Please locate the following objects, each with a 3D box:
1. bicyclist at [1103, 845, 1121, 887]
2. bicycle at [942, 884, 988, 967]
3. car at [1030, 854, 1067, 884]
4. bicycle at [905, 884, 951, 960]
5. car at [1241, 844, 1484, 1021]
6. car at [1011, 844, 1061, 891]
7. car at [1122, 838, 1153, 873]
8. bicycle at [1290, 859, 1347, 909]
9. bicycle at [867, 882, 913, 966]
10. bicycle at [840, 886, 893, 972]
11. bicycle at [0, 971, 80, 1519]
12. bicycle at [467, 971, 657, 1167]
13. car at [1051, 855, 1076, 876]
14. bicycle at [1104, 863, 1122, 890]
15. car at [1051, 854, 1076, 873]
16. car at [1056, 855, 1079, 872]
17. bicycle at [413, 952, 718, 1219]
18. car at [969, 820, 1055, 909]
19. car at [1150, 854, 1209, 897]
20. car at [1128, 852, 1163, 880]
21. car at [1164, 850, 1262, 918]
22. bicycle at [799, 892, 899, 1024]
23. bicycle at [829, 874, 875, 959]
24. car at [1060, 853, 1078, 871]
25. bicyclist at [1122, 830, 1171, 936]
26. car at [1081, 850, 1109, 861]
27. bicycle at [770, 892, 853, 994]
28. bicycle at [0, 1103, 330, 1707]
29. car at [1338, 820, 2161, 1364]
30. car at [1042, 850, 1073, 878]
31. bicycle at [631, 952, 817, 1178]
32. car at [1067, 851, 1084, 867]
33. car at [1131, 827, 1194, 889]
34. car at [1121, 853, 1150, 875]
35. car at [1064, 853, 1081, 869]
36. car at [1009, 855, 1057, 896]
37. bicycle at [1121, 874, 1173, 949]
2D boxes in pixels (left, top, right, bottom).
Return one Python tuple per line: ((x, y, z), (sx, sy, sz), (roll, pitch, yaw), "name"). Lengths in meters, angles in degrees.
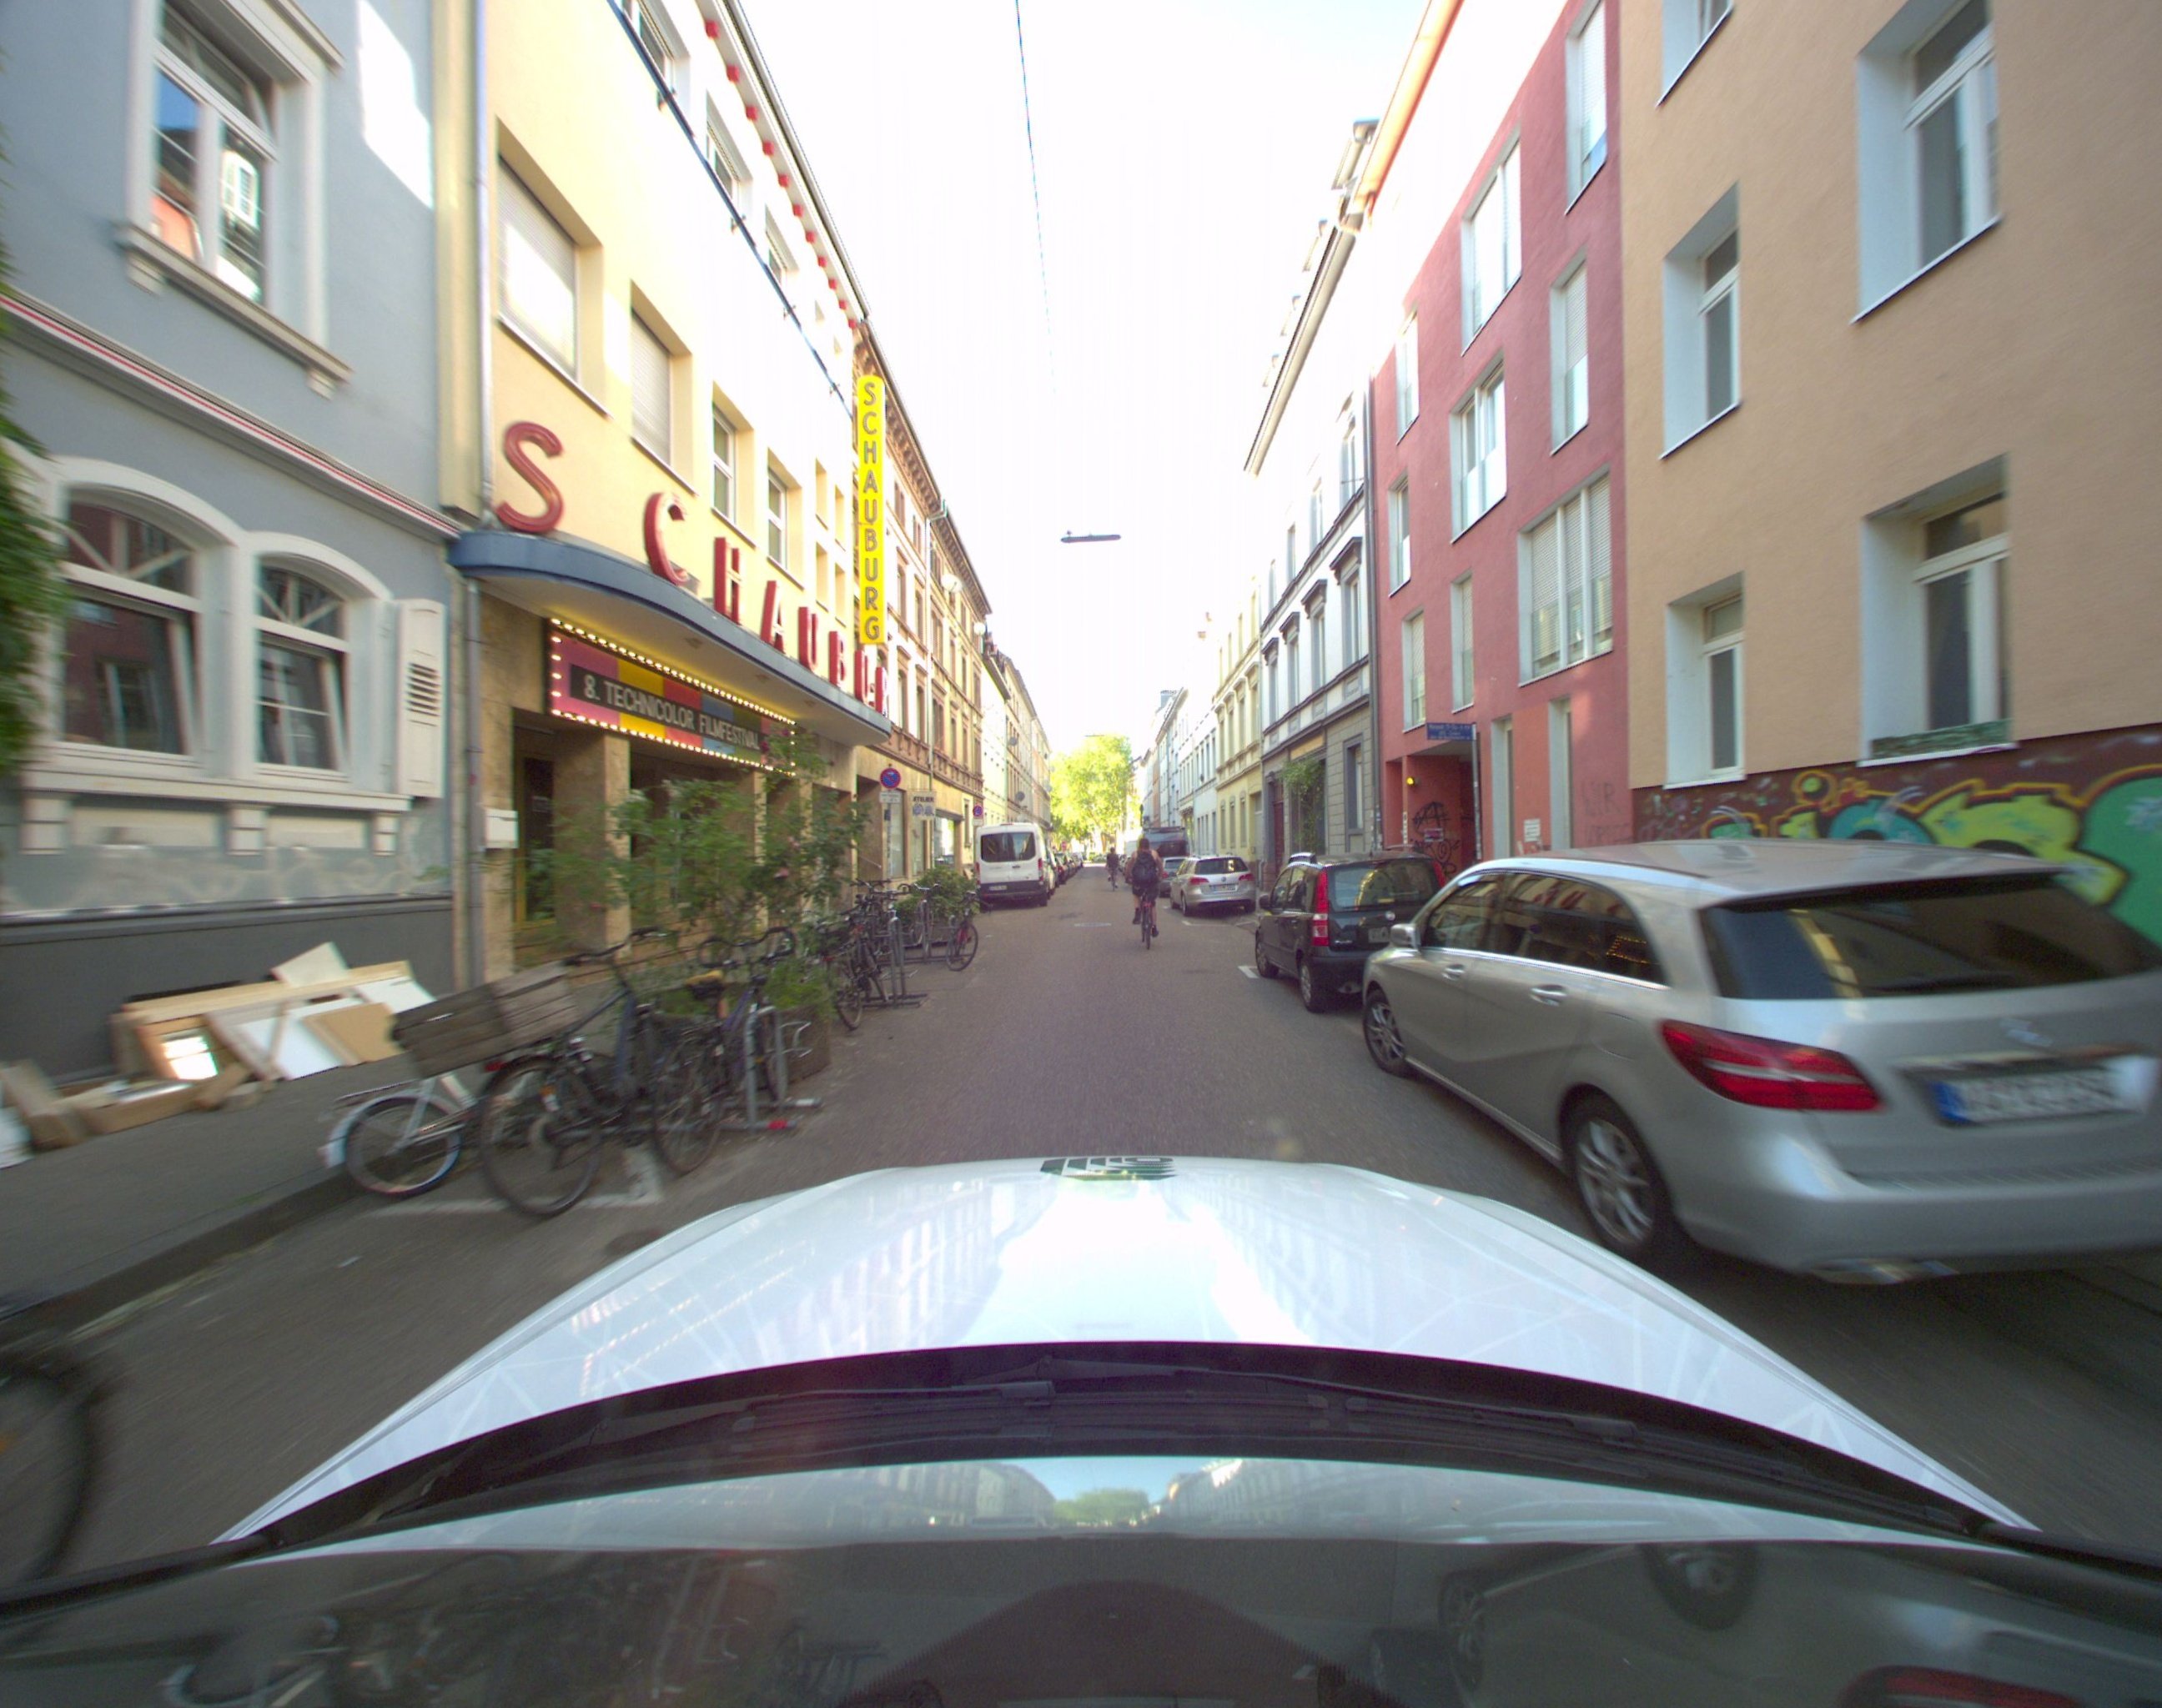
((1.261, 0.489, 33.446), (0.667, 1.658, 0.877), (-2, 0, 1), "bicyclist")
((-1.703, 0.989, 11.794), (0.461, 1.047, 1.741), (1, 0, -15), "bicycle")
((-1.694, 0.767, 43.673), (1.856, 1.440, 4.643), (-2, 1, -1), "car")
((-2.395, 1.028, 12.864), (0.441, 1.047, 1.863), (0, 0, -3), "bicycle")
((2.937, 0.723, 9.247), (1.596, 1.539, 3.452), (-4, 0, 2), "car")
((-1.966, 0.562, 36.981), (1.821, 1.891, 4.615), (-4, 0, 1), "car")
((4.352, 0.113, 63.038), (2.195, 2.551, 6.041), (-2, 0, 3), "car")
((5.667, 0.681, 19.516), (0.708, 1.097, 1.900), (-4, 0, -1), "bicycle")
((-2.980, 1.059, 12.840), (0.398, 1.174, 1.668), (0, 0, -3), "bicycle")
((-2.933, 0.999, 11.202), (0.416, 1.047, 1.317), (0, 0, -2), "bicycle")
((-2.767, 0.869, 1.451), (0.810, 1.175, 0.920), (-1, 0, -1), "bicycle")
((-3.011, 1.200, 4.844), (0.255, 0.817, 1.300), (0, 0, 2), "bicycle")
((-1.251, 0.806, 59.672), (1.586, 1.440, 3.655), (-2, 0, 2), "car")
((1.302, 0.894, 33.593), (0.662, 1.037, 1.959), (-2, 0, 1), "bicycle")
((-1.348, 0.753, 64.650), (1.667, 1.430, 3.892), (-2, 0, 3), "car")
((-1.127, 0.788, 69.709), (1.700, 1.414, 4.303), (-2, 0, 1), "car")
((-2.567, 1.092, 4.288), (0.552, 0.944, 1.572), (-1, 0, 2), "bicycle")
((-2.075, 0.293, 26.330), (2.161, 2.452, 5.920), (-2, 0, 0), "car")
((3.576, 0.735, 30.205), (1.741, 1.444, 4.173), (-1, 0, 1), "car")
((3.716, 0.675, 47.760), (1.740, 1.485, 4.243), (-2, 0, 1), "car")
((3.334, 0.702, 21.365), (1.780, 1.454, 4.547), (-4, 0, 0), "car")
((-2.293, 0.975, 8.267), (0.545, 1.094, 1.880), (0, 0, -3), "bicycle")
((-3.473, 0.913, 12.425), (0.338, 1.174, 1.488), (0, 0, -3), "bicycle")
((-1.084, 0.729, 74.670), (1.600, 1.530, 3.378), (-2, 0, -1), "car")
((1.075, 0.465, 13.571), (0.737, 1.679, 1.116), (0, 0, 1), "bicyclist")
((2.265, 0.235, 133.259), (4.459, 1.759, 1.864), (-2, 0, -4), "car")
((-3.145, 1.009, 9.619), (0.572, 1.045, 1.408), (0, 0, -3), "bicycle")
((-2.060, 1.084, 1.388), (0.320, 0.916, 1.290), (-1, 0, 2), "bicycle")
((2.869, 0.680, 4.431), (1.739, 1.556, 4.173), (-1, 0, 2), "car")
((-1.548, 0.651, 54.695), (1.794, 1.698, 4.001), (-3, 0, 1), "car")
((-1.954, 1.103, 4.634), (0.389, 0.916, 1.393), (-1, 0, 2), "bicycle")
((-0.602, 0.552, 94.247), (1.782, 1.737, 3.876), (-2, 0, 1), "car")
((3.528, 0.156, 36.496), (2.168, 2.425, 6.310), (-3, 0, 1), "car")
((3.805, 0.668, 57.597), (1.720, 1.429, 3.831), (-2, 0, 0), "car")
((-0.860, 0.702, 82.045), (1.540, 1.550, 3.462), (-2, 0, -2), "car")
((-1.852, 0.805, 32.383), (1.640, 1.447, 3.838), (-2, 0, -1), "car")
((1.068, 0.913, 13.604), (0.737, 1.100, 2.042), (0, 0, 1), "bicycle")
